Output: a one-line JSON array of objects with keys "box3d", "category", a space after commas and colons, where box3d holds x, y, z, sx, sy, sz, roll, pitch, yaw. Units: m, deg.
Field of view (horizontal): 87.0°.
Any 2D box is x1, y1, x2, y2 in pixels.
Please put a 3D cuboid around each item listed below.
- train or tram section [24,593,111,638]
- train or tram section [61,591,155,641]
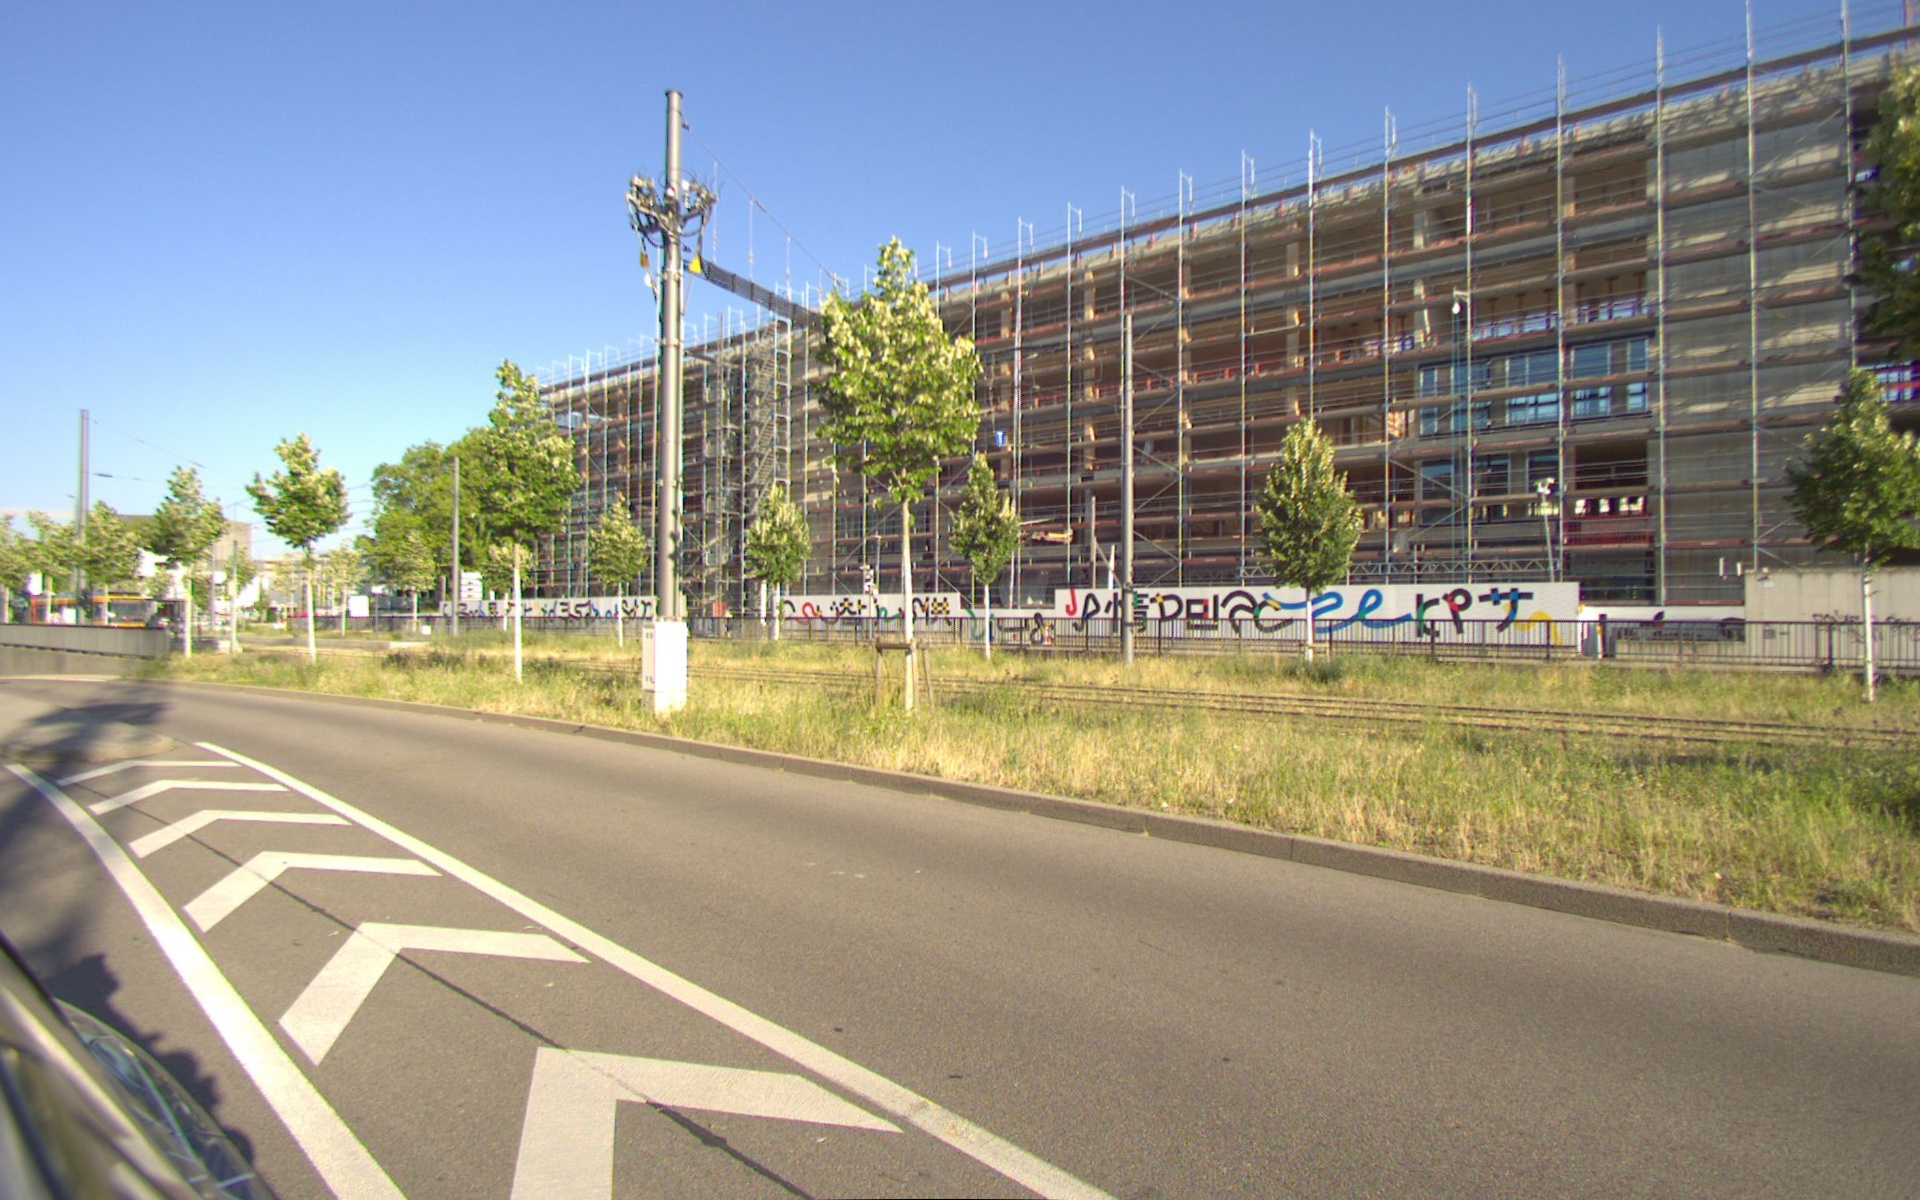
[{"box3d": [-73.361, 1.279, 83.004, 14.749, 3.423, 2.917, -1, 0, 39], "category": "train or tram section"}, {"box3d": [-62.759, 1.142, 74.410, 12.619, 3.423, 2.917, -1, 0, 39], "category": "train or tram section"}]
